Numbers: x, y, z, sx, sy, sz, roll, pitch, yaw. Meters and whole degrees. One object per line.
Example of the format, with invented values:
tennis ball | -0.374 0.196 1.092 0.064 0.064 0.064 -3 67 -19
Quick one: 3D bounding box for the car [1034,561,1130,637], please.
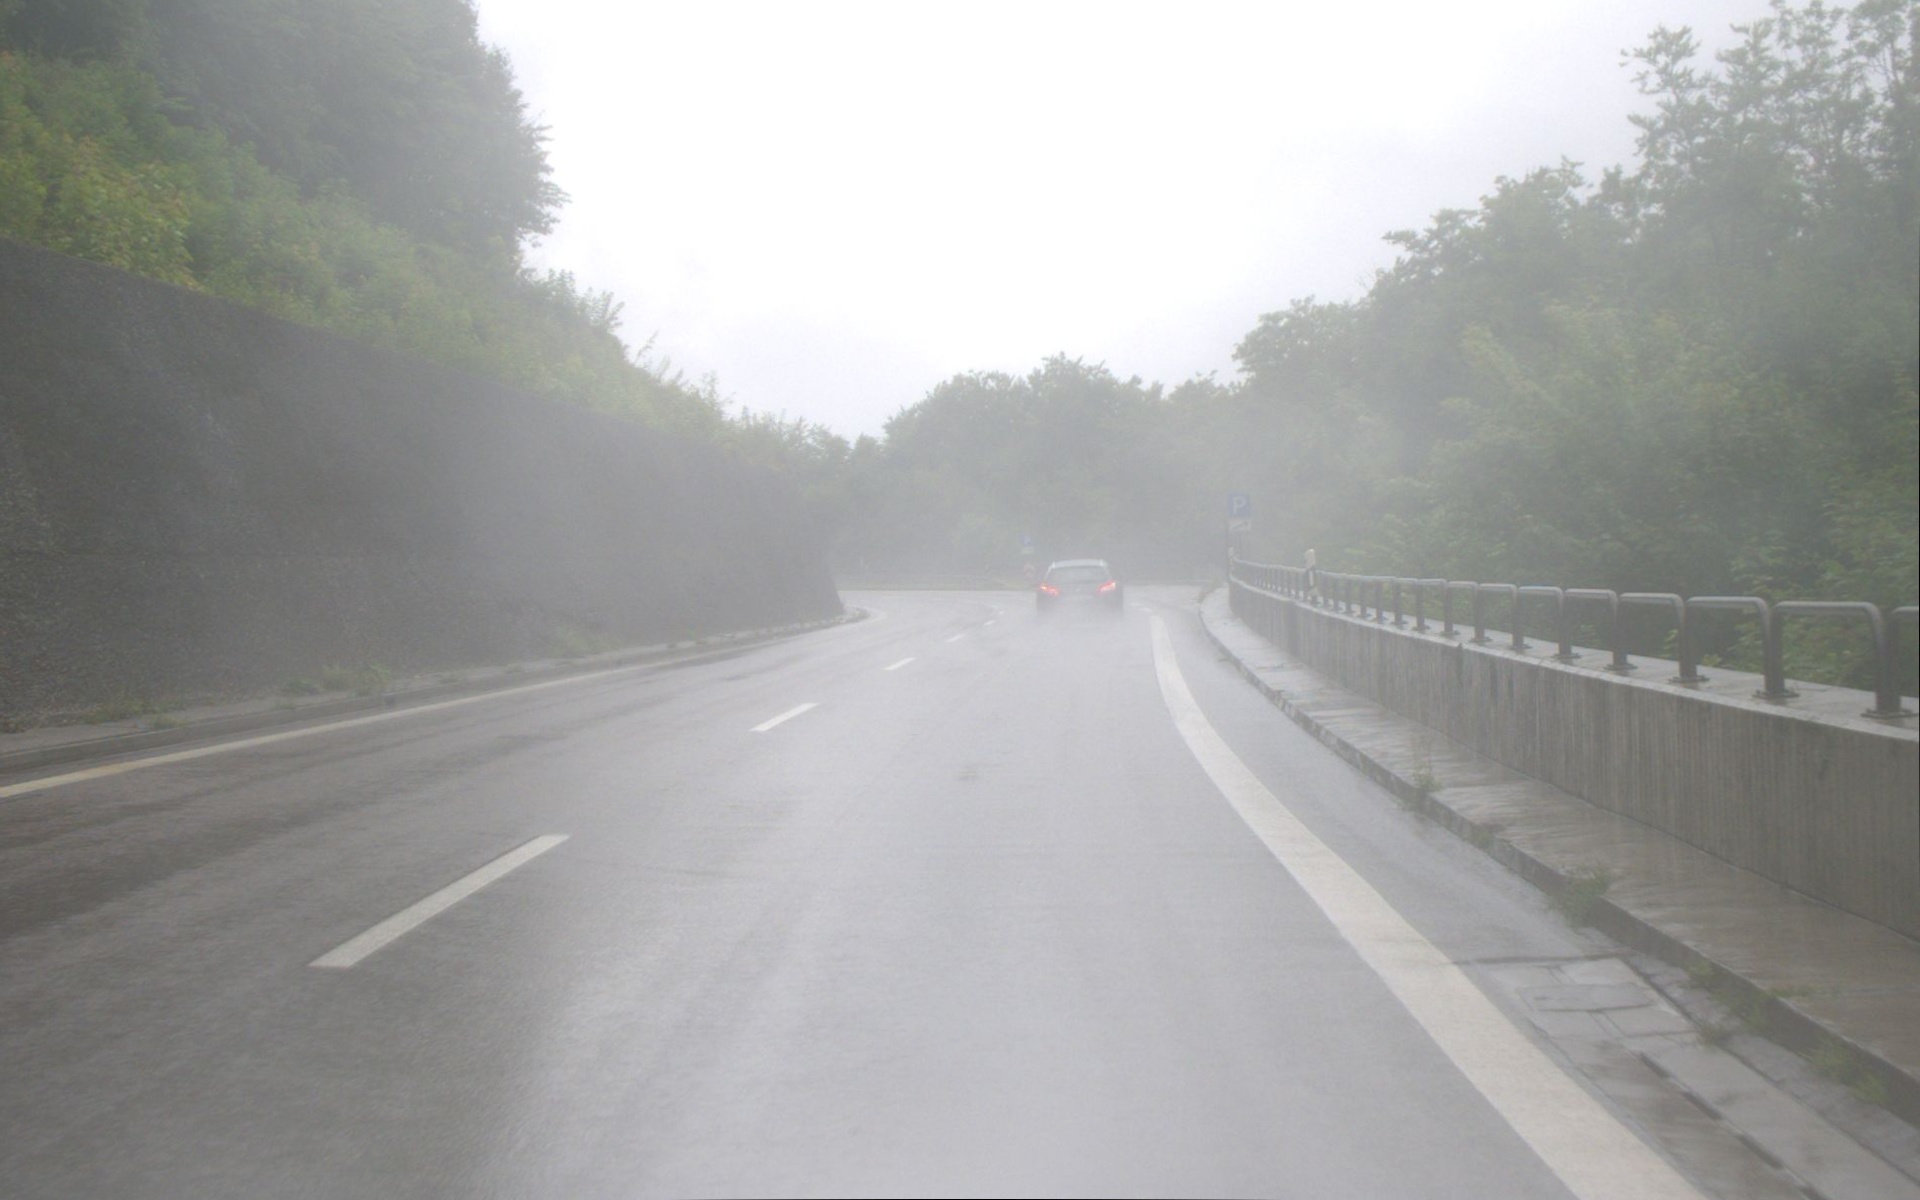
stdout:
car | 2.534 -0.037 71.689 1.904 1.494 4.000 -1 0 2
